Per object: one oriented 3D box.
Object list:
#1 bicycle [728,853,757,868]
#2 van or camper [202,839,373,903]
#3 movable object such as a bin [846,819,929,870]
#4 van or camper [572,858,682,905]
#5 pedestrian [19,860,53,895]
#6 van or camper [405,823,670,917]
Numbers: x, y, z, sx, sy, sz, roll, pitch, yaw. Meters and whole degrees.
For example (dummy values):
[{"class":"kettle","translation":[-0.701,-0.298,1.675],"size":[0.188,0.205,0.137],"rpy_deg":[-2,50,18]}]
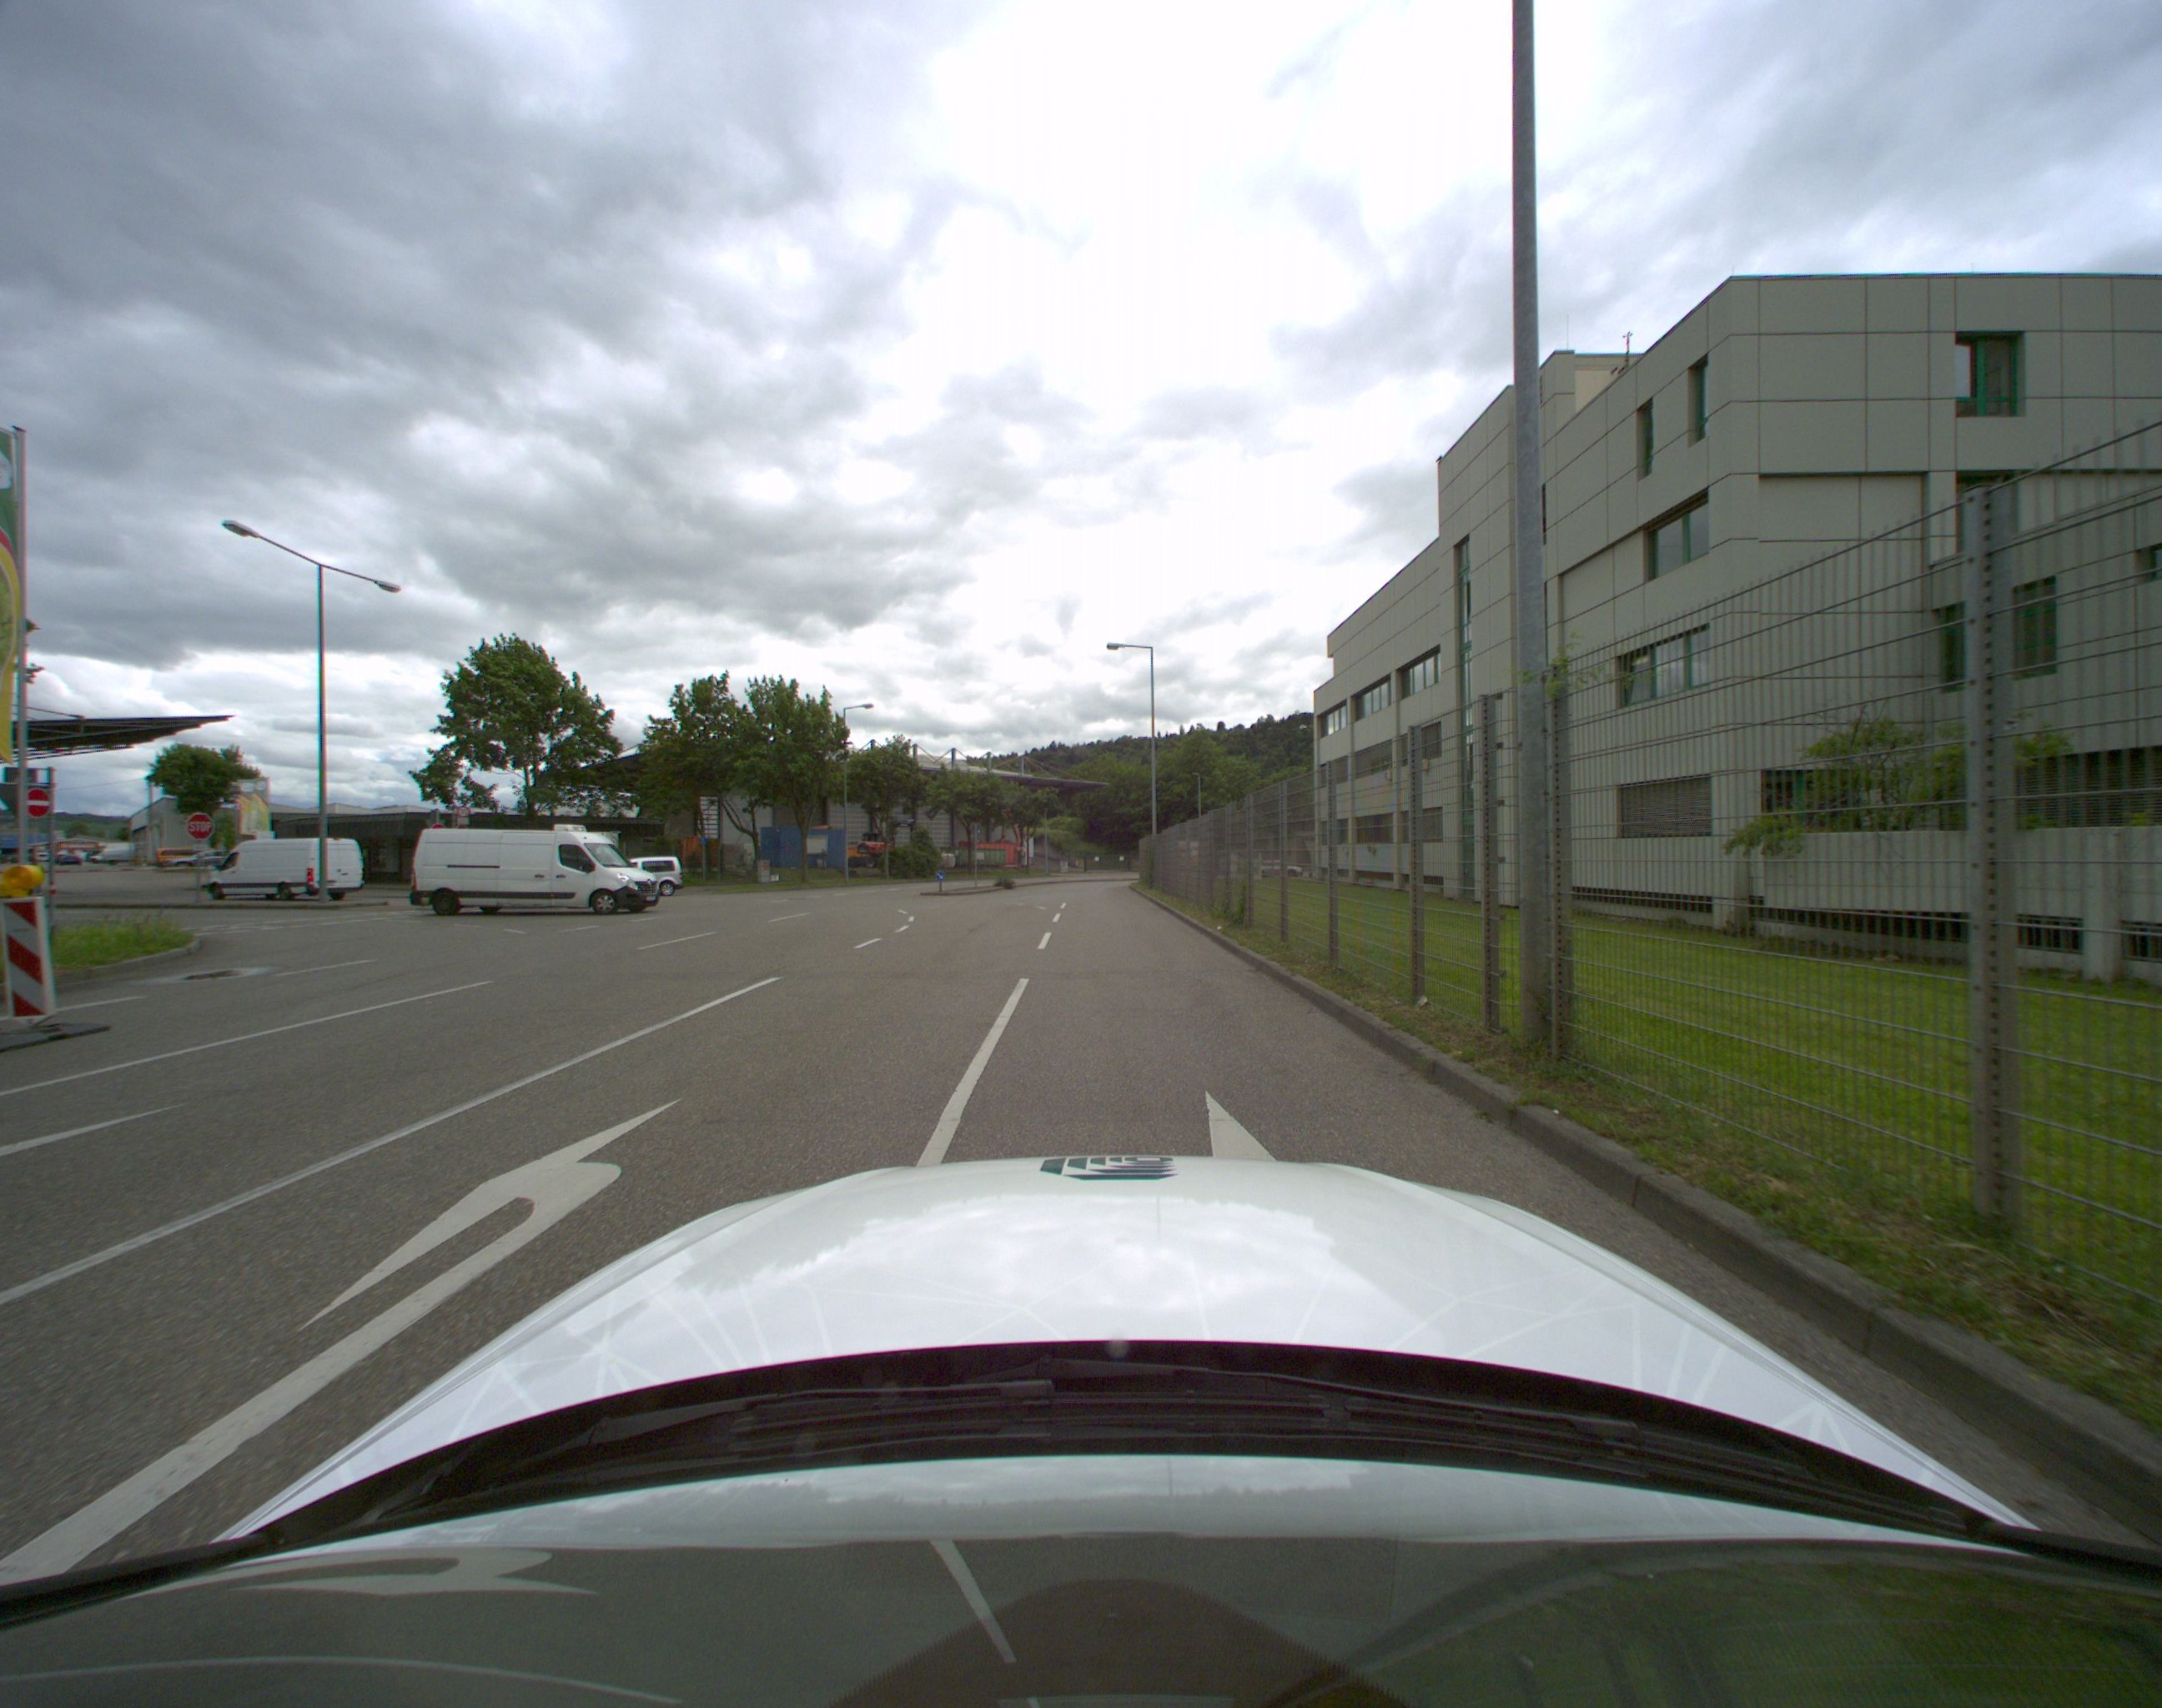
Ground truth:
[{"class":"bicycle","translation":[-23.370,0.423,56.292],"size":[0.654,0.974,1.772],"rpy_deg":[-1,0,34]},{"class":"van or camper","translation":[-34.107,0.656,35.031],"size":[6.505,2.557,2.342],"rpy_deg":[1,0,16]},{"class":"movable object such as a bin","translation":[-16.303,-0.802,69.025],"size":[2.698,4.091,6.594],"rpy_deg":[-1,0,34]},{"class":"van or camper","translation":[-20.701,1.194,37.169],"size":[4.292,1.963,1.938],"rpy_deg":[0,0,-33]},{"class":"pedestrian","translation":[-47.978,1.089,37.402],"size":[0.806,1.559,0.773],"rpy_deg":[-1,0,25]},{"class":"van or camper","translation":[-15.541,0.428,23.591],"size":[6.070,2.557,2.272],"rpy_deg":[0,0,-1]}]
